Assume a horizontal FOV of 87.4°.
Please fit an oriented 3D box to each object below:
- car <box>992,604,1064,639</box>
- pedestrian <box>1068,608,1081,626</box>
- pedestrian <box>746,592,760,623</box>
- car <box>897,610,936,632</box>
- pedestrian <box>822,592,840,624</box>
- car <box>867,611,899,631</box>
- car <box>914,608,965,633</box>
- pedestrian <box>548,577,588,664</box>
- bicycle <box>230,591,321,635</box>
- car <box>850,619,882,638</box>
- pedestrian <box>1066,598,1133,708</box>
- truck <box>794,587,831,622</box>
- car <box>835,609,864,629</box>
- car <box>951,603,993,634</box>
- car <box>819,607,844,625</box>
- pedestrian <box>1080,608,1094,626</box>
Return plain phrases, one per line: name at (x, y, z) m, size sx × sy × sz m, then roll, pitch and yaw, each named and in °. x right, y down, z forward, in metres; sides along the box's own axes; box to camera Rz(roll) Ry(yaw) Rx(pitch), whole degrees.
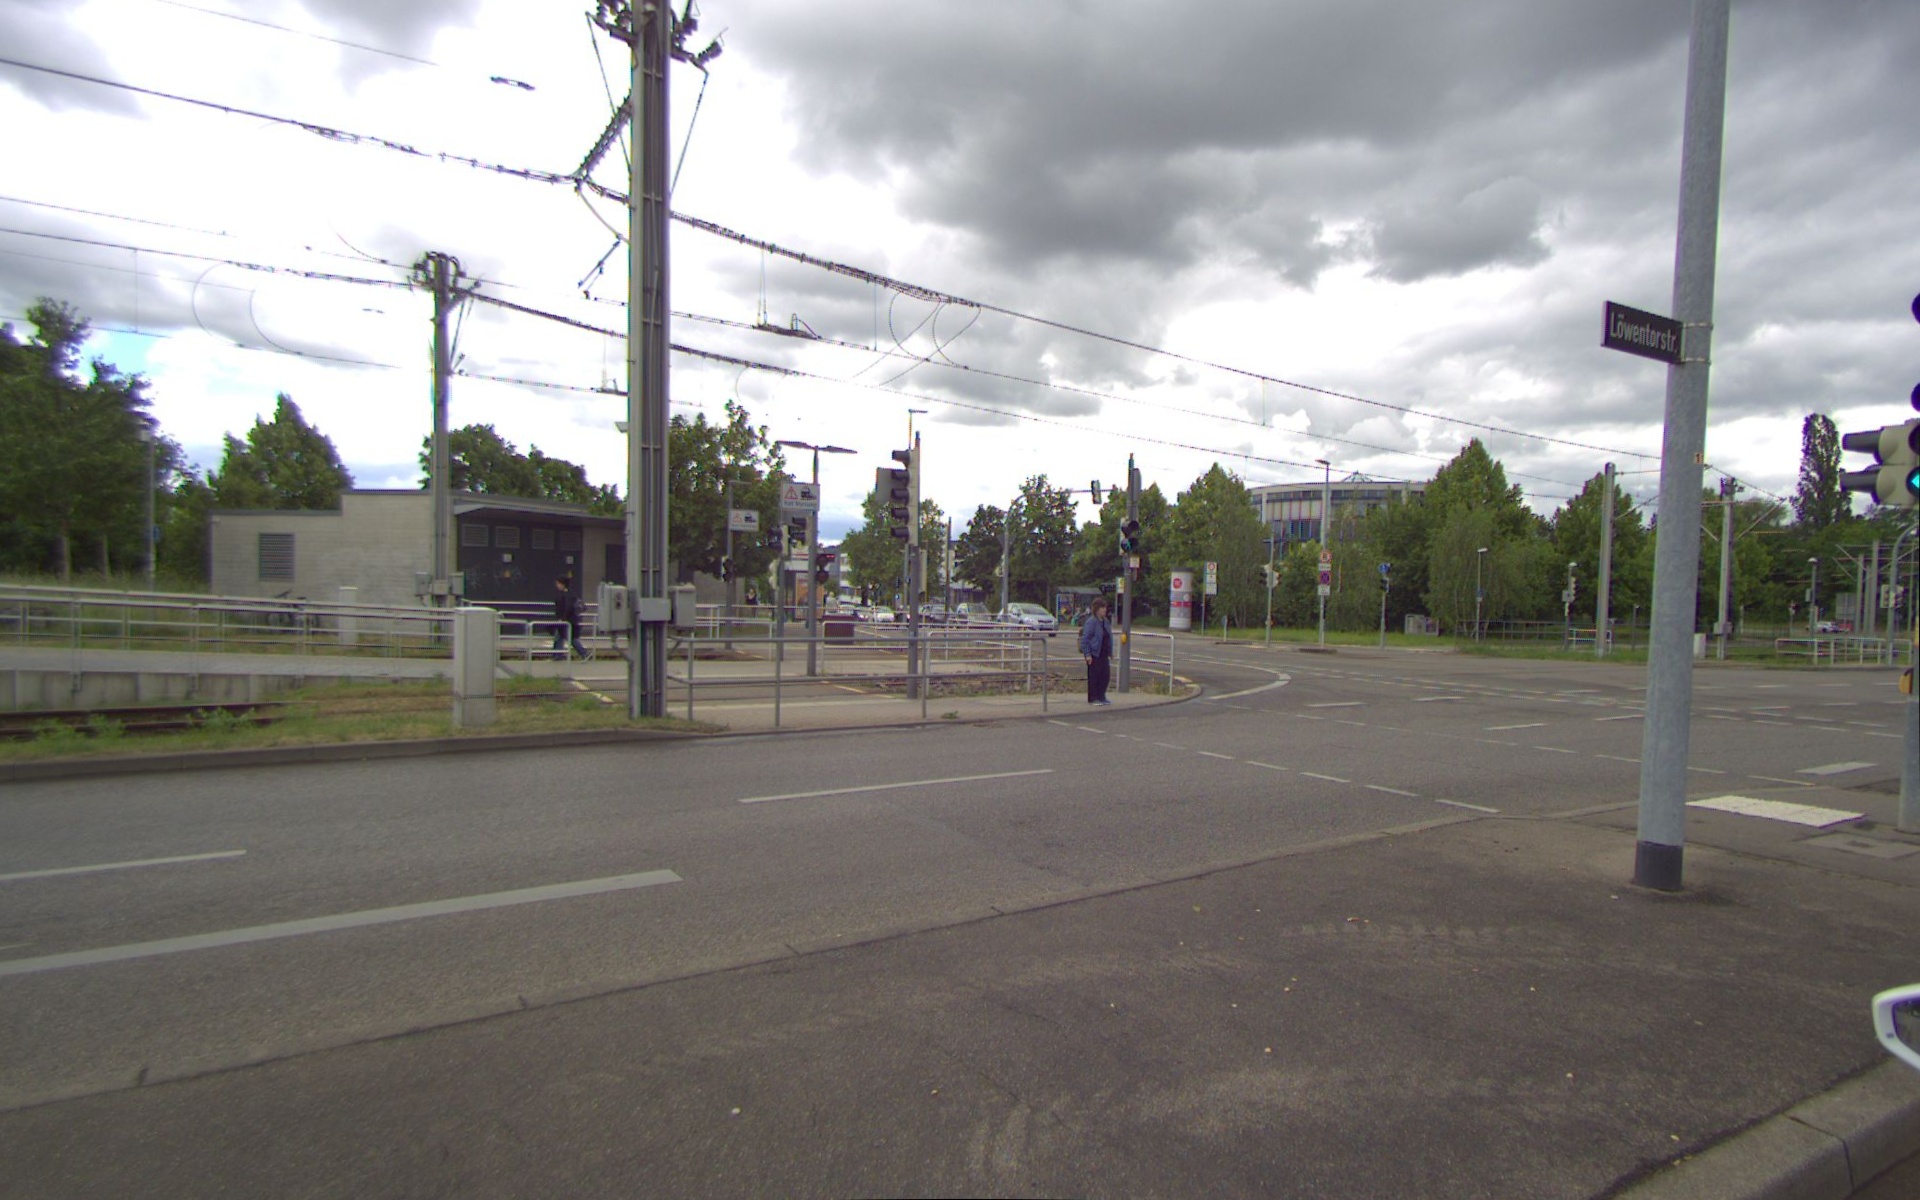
car at (3.129, 0.972, 47.036) m, size 1.805 × 1.556 × 4.199 m, roll 1°, pitch 0°, yaw -21°
pedestrian at (8.286, 1.226, 72.802) m, size 0.718 × 1.333 × 0.587 m, roll 1°, pitch 0°, yaw -15°
pedestrian at (-11.344, 0.394, 54.978) m, size 0.539 × 1.692 × 0.639 m, roll 1°, pitch 0°, yaw 10°
car at (-2.835, 1.354, 64.674) m, size 1.618 × 1.350 × 4.046 m, roll 1°, pitch 0°, yaw -17°
pedestrian at (-5.613, 0.345, 43.686) m, size 0.543 × 1.382 × 0.769 m, roll 1°, pitch 0°, yaw -24°
car at (-5.769, 1.565, 74.727) m, size 1.618 × 1.409 × 3.749 m, roll 1°, pitch 0°, yaw -17°
car at (-1.224, 1.157, 58.312) m, size 1.777 × 1.350 × 4.362 m, roll 1°, pitch 0°, yaw -18°
pedestrian at (-7.356, 0.378, 18.849) m, size 0.539 × 1.593 × 0.560 m, roll 4°, pitch -1°, yaw -31°
bicycle at (-18.458, 0.349, 27.087) m, size 2.210 × 1.120 × 0.679 m, roll 2°, pitch 0°, yaw 12°
car at (-7.565, 2.236, 80.323) m, size 1.618 × 1.409 × 4.867 m, roll 1°, pitch 0°, yaw -17°
pedestrian at (2.027, 0.763, 14.671) m, size 0.661 × 1.550 × 0.711 m, roll 1°, pitch 0°, yaw -25°
truck at (-16.062, 0.494, 108.635) m, size 2.670 × 3.533 × 9.960 m, roll 0°, pitch 0°, yaw -16°
car at (-9.617, 1.622, 87.076) m, size 1.708 × 1.607 × 4.208 m, roll 1°, pitch 0°, yaw -17°
car at (0.618, 0.953, 53.030) m, size 1.411 × 1.547 × 2.763 m, roll 1°, pitch 0°, yaw -19°
car at (-12.065, 1.453, 94.142) m, size 1.618 × 1.607 × 4.046 m, roll 1°, pitch 0°, yaw -17°
pedestrian at (9.050, 1.235, 71.590) m, size 0.759 × 1.269 × 0.774 m, roll 1°, pitch 0°, yaw 32°
